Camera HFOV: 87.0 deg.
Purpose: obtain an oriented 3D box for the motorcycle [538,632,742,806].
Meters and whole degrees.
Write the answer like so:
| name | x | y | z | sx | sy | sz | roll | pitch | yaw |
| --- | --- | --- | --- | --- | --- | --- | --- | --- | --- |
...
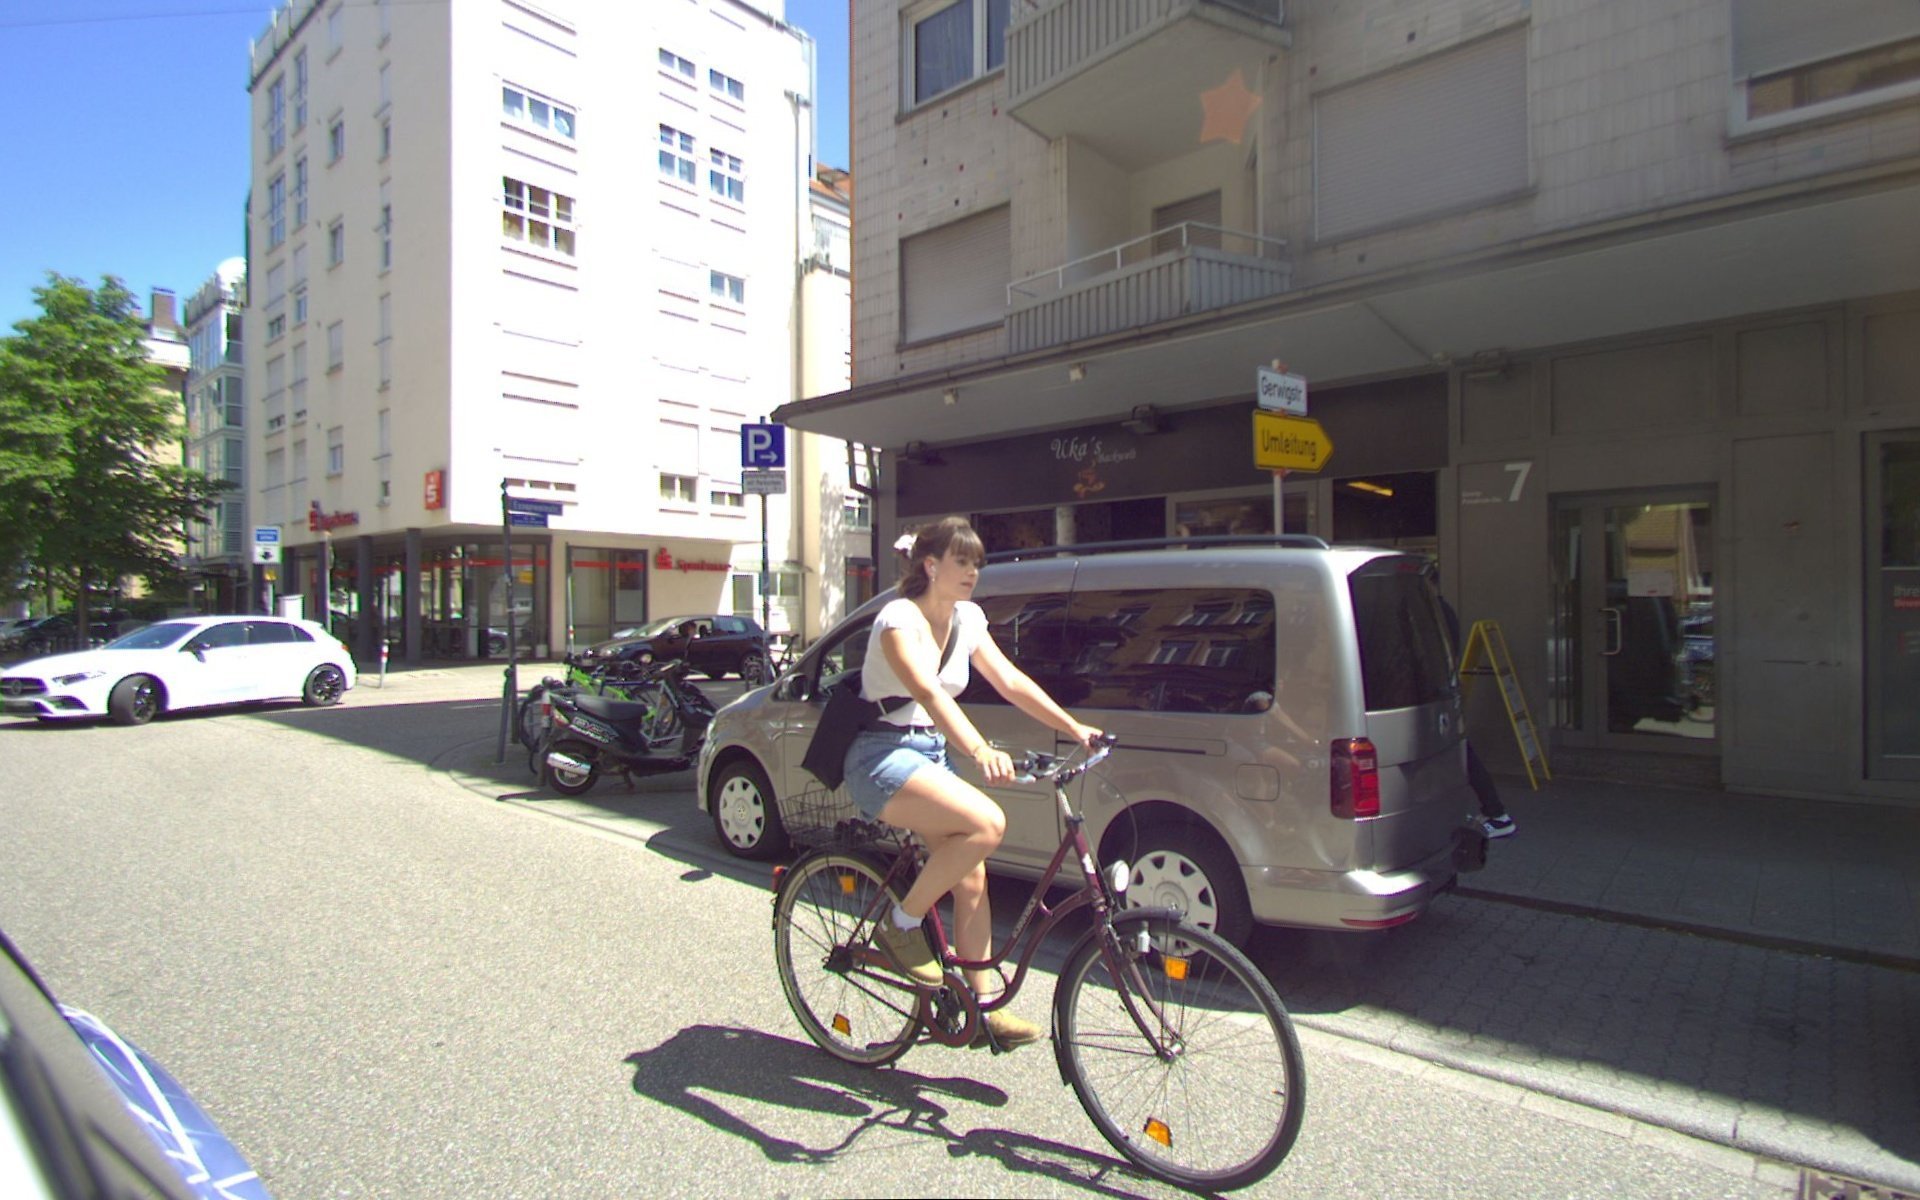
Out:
| name | x | y | z | sx | sy | sz | roll | pitch | yaw |
| --- | --- | --- | --- | --- | --- | --- | --- | --- | --- |
| motorcycle | -2.597 | 0.938 | 8.291 | 1.530 | 1.293 | 0.394 | -1 | 1 | -17 |

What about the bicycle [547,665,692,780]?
| name | x | y | z | sx | sy | sz | roll | pitch | yaw |
| --- | --- | --- | --- | --- | --- | --- | --- | --- | --- |
| bicycle | -3.079 | 1.099 | 9.197 | 1.194 | 0.964 | 0.337 | -1 | 0 | -6 |

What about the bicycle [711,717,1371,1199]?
| name | x | y | z | sx | sy | sz | roll | pitch | yaw |
| --- | --- | --- | --- | --- | --- | --- | --- | --- | --- |
| bicycle | 0.099 | 0.975 | 2.946 | 1.939 | 1.100 | 0.596 | -1 | -1 | 41 |

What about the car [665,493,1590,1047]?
| name | x | y | z | sx | sy | sz | roll | pitch | yaw |
| --- | --- | --- | --- | --- | --- | --- | --- | --- | --- |
| car | 0.501 | 0.596 | 5.660 | 4.898 | 1.843 | 1.770 | -1 | 0 | 41 |

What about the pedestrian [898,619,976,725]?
| name | x | y | z | sx | sy | sz | roll | pitch | yaw |
| --- | --- | --- | --- | --- | --- | --- | --- | --- | --- |
| pedestrian | -0.273 | 0.818 | 11.834 | 0.698 | 1.189 | 0.585 | -1 | -1 | 39 |

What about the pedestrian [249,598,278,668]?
| name | x | y | z | sx | sy | sz | roll | pitch | yaw |
| --- | --- | --- | --- | --- | --- | --- | --- | --- | --- |
| pedestrian | -21.710 | 1.021 | 31.539 | 0.605 | 2.141 | 0.492 | -1 | -1 | 22 |

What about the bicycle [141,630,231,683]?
| name | x | y | z | sx | sy | sz | roll | pitch | yaw |
| --- | --- | --- | --- | --- | --- | --- | --- | --- | --- |
| bicycle | -17.861 | 1.288 | 23.371 | 1.586 | 1.099 | 0.371 | -2 | 0 | -44 |

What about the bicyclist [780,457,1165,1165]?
| name | x | y | z | sx | sy | sz | roll | pitch | yaw |
| --- | --- | --- | --- | --- | --- | --- | --- | --- | --- |
| bicyclist | 0.018 | 0.519 | 3.025 | 0.978 | 1.719 | 0.616 | -1 | -1 | 41 |

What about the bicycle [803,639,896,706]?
| name | x | y | z | sx | sy | sz | roll | pitch | yaw |
| --- | --- | --- | --- | --- | --- | --- | --- | --- | --- |
| bicycle | -1.757 | 1.109 | 15.892 | 1.711 | 0.964 | 0.405 | -1 | 0 | 42 |

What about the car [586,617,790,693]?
| name | x | y | z | sx | sy | sz | roll | pitch | yaw |
| --- | --- | --- | --- | --- | --- | --- | --- | --- | --- |
| car | -5.737 | 1.107 | 21.608 | 3.834 | 1.436 | 1.816 | 0 | -1 | -45 |

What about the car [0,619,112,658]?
| name | x | y | z | sx | sy | sz | roll | pitch | yaw |
| --- | --- | --- | --- | --- | --- | --- | --- | --- | --- |
| car | -38.028 | 1.573 | 42.232 | 1.651 | 1.507 | 3.835 | -1 | -1 | 40 |

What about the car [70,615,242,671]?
| name | x | y | z | sx | sy | sz | roll | pitch | yaw |
| --- | --- | --- | --- | --- | --- | --- | --- | --- | --- |
| car | -24.160 | 1.249 | 30.511 | 1.651 | 1.540 | 3.835 | -1 | -1 | 40 |

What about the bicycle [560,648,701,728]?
| name | x | y | z | sx | sy | sz | roll | pitch | yaw |
| --- | --- | --- | --- | --- | --- | --- | --- | --- | --- |
| bicycle | -4.162 | 1.110 | 12.788 | 1.692 | 0.964 | 0.409 | -1 | 0 | 9 |

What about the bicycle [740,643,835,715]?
| name | x | y | z | sx | sy | sz | roll | pitch | yaw |
| --- | --- | --- | --- | --- | --- | --- | --- | --- | --- |
| bicycle | -2.576 | 1.140 | 14.978 | 1.711 | 0.964 | 0.405 | -1 | 0 | 42 |

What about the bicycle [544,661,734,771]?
| name | x | y | z | sx | sy | sz | roll | pitch | yaw |
| --- | --- | --- | --- | --- | --- | --- | --- | --- | --- |
| bicycle | -3.069 | 1.099 | 9.765 | 1.684 | 0.964 | 0.411 | -1 | 0 | -6 |

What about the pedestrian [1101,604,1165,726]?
| name | x | y | z | sx | sy | sz | roll | pitch | yaw |
| --- | --- | --- | --- | --- | --- | --- | --- | --- | --- |
| pedestrian | 1.667 | 0.609 | 9.735 | 0.505 | 1.135 | 0.496 | -1 | -1 | 21 |

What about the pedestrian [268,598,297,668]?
| name | x | y | z | sx | sy | sz | roll | pitch | yaw |
| --- | --- | --- | --- | --- | --- | --- | --- | --- | --- |
| pedestrian | -20.843 | 1.004 | 31.132 | 0.599 | 2.141 | 0.496 | 0 | -1 | -13 |

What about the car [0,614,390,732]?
| name | x | y | z | sx | sy | sz | roll | pitch | yaw |
| --- | --- | --- | --- | --- | --- | --- | --- | --- | --- |
| car | -10.803 | 0.928 | 14.678 | 1.804 | 1.436 | 4.207 | -1 | -1 | 24 |

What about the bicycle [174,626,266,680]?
| name | x | y | z | sx | sy | sz | roll | pitch | yaw |
| --- | --- | --- | --- | --- | --- | --- | --- | --- | --- |
| bicycle | -16.478 | 1.162 | 22.559 | 1.586 | 1.099 | 0.371 | -2 | 0 | -44 |

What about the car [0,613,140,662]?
| name | x | y | z | sx | sy | sz | roll | pitch | yaw |
| --- | --- | --- | --- | --- | --- | --- | --- | --- | --- |
| car | -33.850 | 1.384 | 38.569 | 1.651 | 1.760 | 3.835 | -1 | -1 | 40 |

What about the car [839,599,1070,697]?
| name | x | y | z | sx | sy | sz | roll | pitch | yaw |
| --- | --- | --- | --- | --- | --- | --- | --- | --- | --- |
| car | -0.009 | 0.820 | 18.188 | 1.999 | 1.441 | 3.946 | -5 | -2 | 41 |

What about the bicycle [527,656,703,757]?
| name | x | y | z | sx | sy | sz | roll | pitch | yaw |
| --- | --- | --- | --- | --- | --- | --- | --- | --- | --- |
| bicycle | -3.587 | 1.100 | 10.607 | 1.684 | 0.964 | 0.411 | -1 | 0 | -6 |
